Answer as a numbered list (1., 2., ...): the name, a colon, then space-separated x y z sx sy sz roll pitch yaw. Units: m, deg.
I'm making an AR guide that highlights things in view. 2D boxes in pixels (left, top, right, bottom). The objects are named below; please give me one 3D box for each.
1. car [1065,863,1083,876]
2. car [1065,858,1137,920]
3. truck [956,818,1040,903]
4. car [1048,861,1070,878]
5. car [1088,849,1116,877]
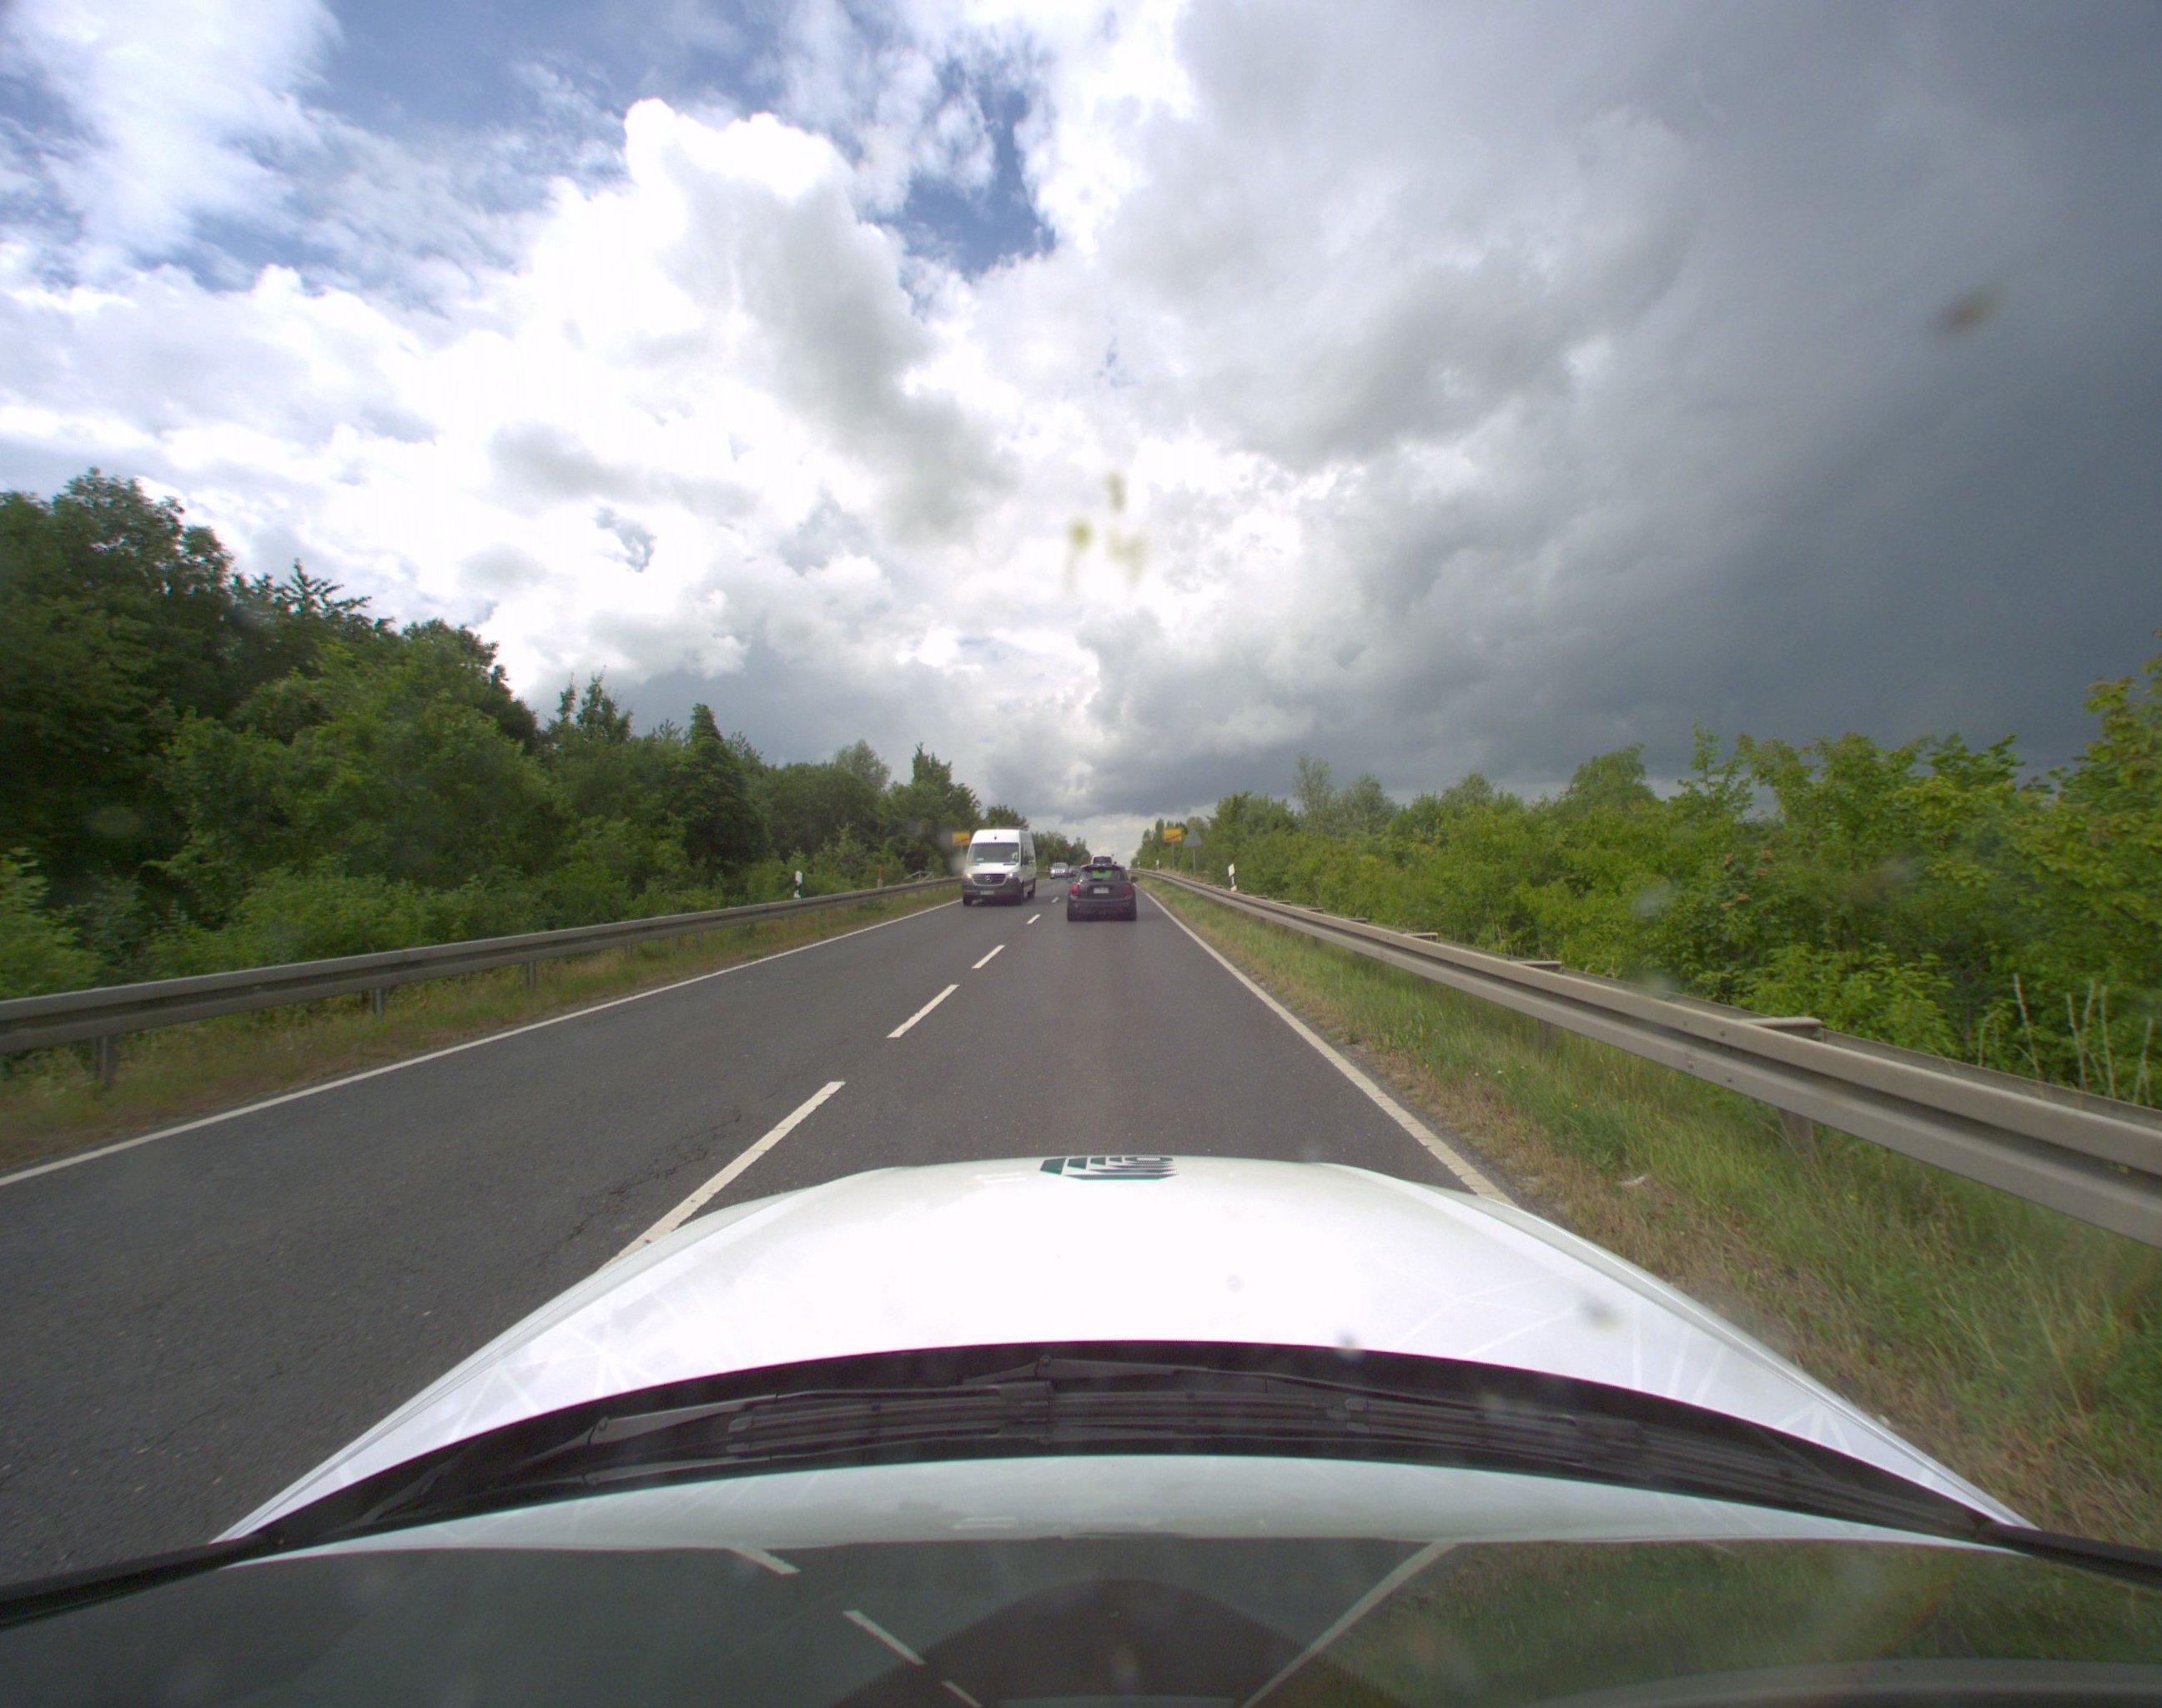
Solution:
1. car: -0.785 1.711 92.364 1.829 1.420 4.000 -1 -1 1
2. car: 0.547 0.850 21.679 1.725 1.456 4.002 -1 0 2
3. truck: -2.874 0.213 29.892 2.057 2.742 7.011 -1 0 2
4. car: -1.971 1.414 73.775 1.829 1.445 4.000 -1 -1 0
5. car: 1.604 0.688 62.176 2.014 2.013 4.002 -1 0 2
